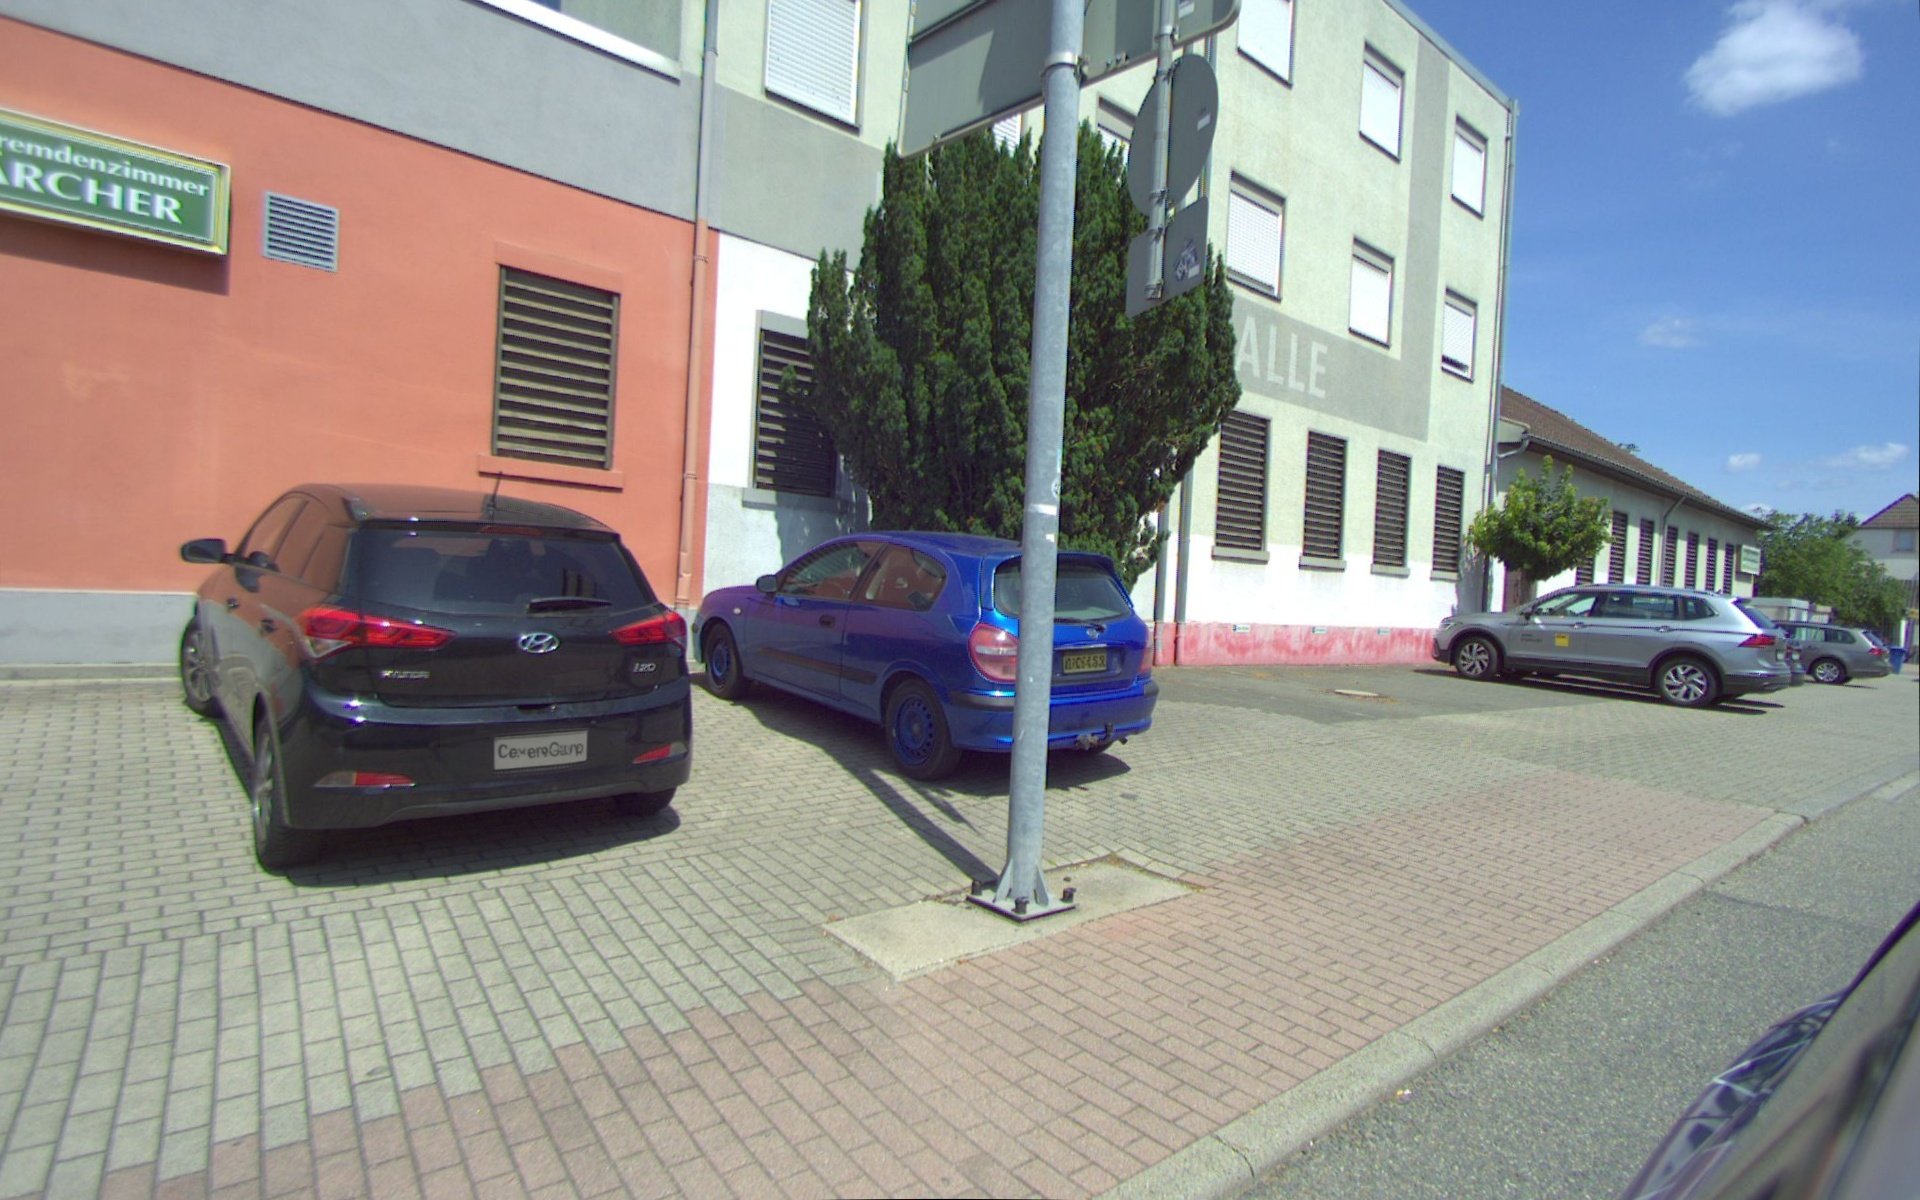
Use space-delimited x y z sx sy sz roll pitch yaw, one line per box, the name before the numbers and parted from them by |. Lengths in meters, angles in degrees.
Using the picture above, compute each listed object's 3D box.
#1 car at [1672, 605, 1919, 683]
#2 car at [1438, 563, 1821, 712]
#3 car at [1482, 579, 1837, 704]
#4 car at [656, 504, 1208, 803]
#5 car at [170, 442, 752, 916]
car | 21.201 1.065 25.853 1.884 1.472 4.538 3 3 -40
car | 10.017 0.456 15.443 1.889 1.717 4.462 3 3 -42
car | 11.586 0.598 17.042 1.965 1.538 4.511 3 3 -41
car | -0.511 0.123 7.567 1.749 1.456 4.334 -1 6 -41
car | -2.931 0.053 5.417 1.779 1.507 3.906 0 8 -42
